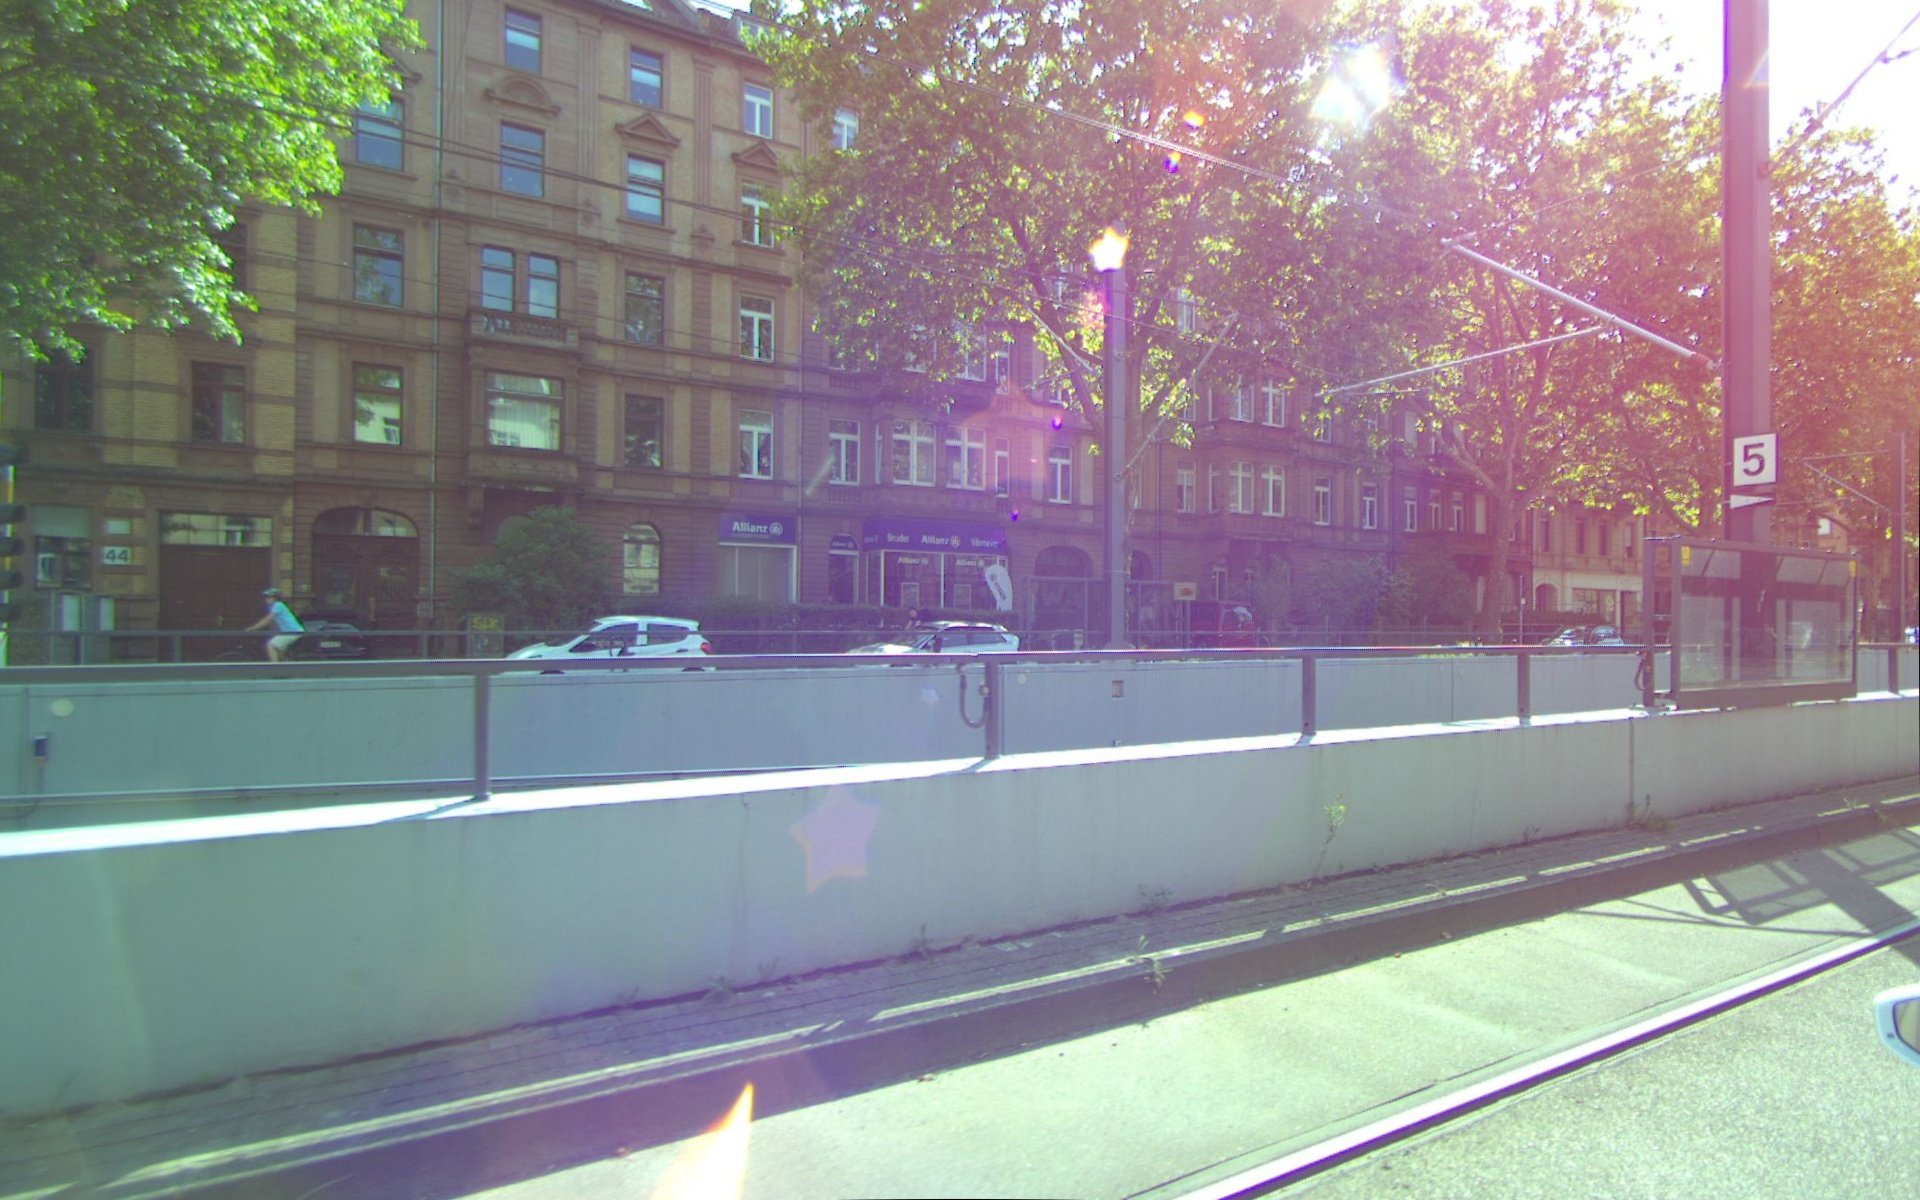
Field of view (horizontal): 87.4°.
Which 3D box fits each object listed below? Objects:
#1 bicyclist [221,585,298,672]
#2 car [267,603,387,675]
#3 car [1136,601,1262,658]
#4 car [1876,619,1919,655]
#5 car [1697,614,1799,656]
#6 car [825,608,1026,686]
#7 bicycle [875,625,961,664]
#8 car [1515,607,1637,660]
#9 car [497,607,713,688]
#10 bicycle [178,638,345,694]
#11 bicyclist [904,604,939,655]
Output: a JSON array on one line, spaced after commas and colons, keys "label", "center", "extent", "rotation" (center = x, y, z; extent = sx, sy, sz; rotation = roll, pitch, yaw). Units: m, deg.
[{"label": "bicyclist", "center": [-12.313, 0.501, 17.688], "extent": [1.032, 1.475, 0.685], "rotation": [1, -1, -30]}, {"label": "car", "center": [-14.517, 0.854, 23.237], "extent": [1.975, 1.503, 3.972], "rotation": [1, -1, -27]}, {"label": "car", "center": [8.652, 1.039, 36.713], "extent": [1.977, 1.944, 4.379], "rotation": [1, -1, -31]}, {"label": "car", "center": [48.706, 1.900, 51.228], "extent": [3.953, 1.750, 1.831], "rotation": [1, -3, -30]}, {"label": "car", "center": [33.154, 1.459, 42.231], "extent": [3.950, 1.658, 1.986], "rotation": [1, -1, -28]}, {"label": "car", "center": [-0.698, 0.979, 21.201], "extent": [3.955, 1.501, 1.635], "rotation": [1, -3, -31]}, {"label": "bicycle", "center": [-1.033, 1.097, 24.890], "extent": [2.124, 0.925, 0.532], "rotation": [1, -1, -30]}, {"label": "car", "center": [20.967, 1.133, 34.199], "extent": [3.677, 1.713, 1.714], "rotation": [0, -2, -24]}, {"label": "car", "center": [-6.299, 0.834, 17.860], "extent": [3.447, 1.320, 1.491], "rotation": [1, -3, -28]}, {"label": "bicycle", "center": [-12.249, 1.142, 17.719], "extent": [2.340, 0.925, 0.668], "rotation": [1, -1, -30]}, {"label": "bicyclist", "center": [-0.953, 0.721, 24.938], "extent": [0.715, 1.248, 0.532], "rotation": [1, -1, -30]}]
